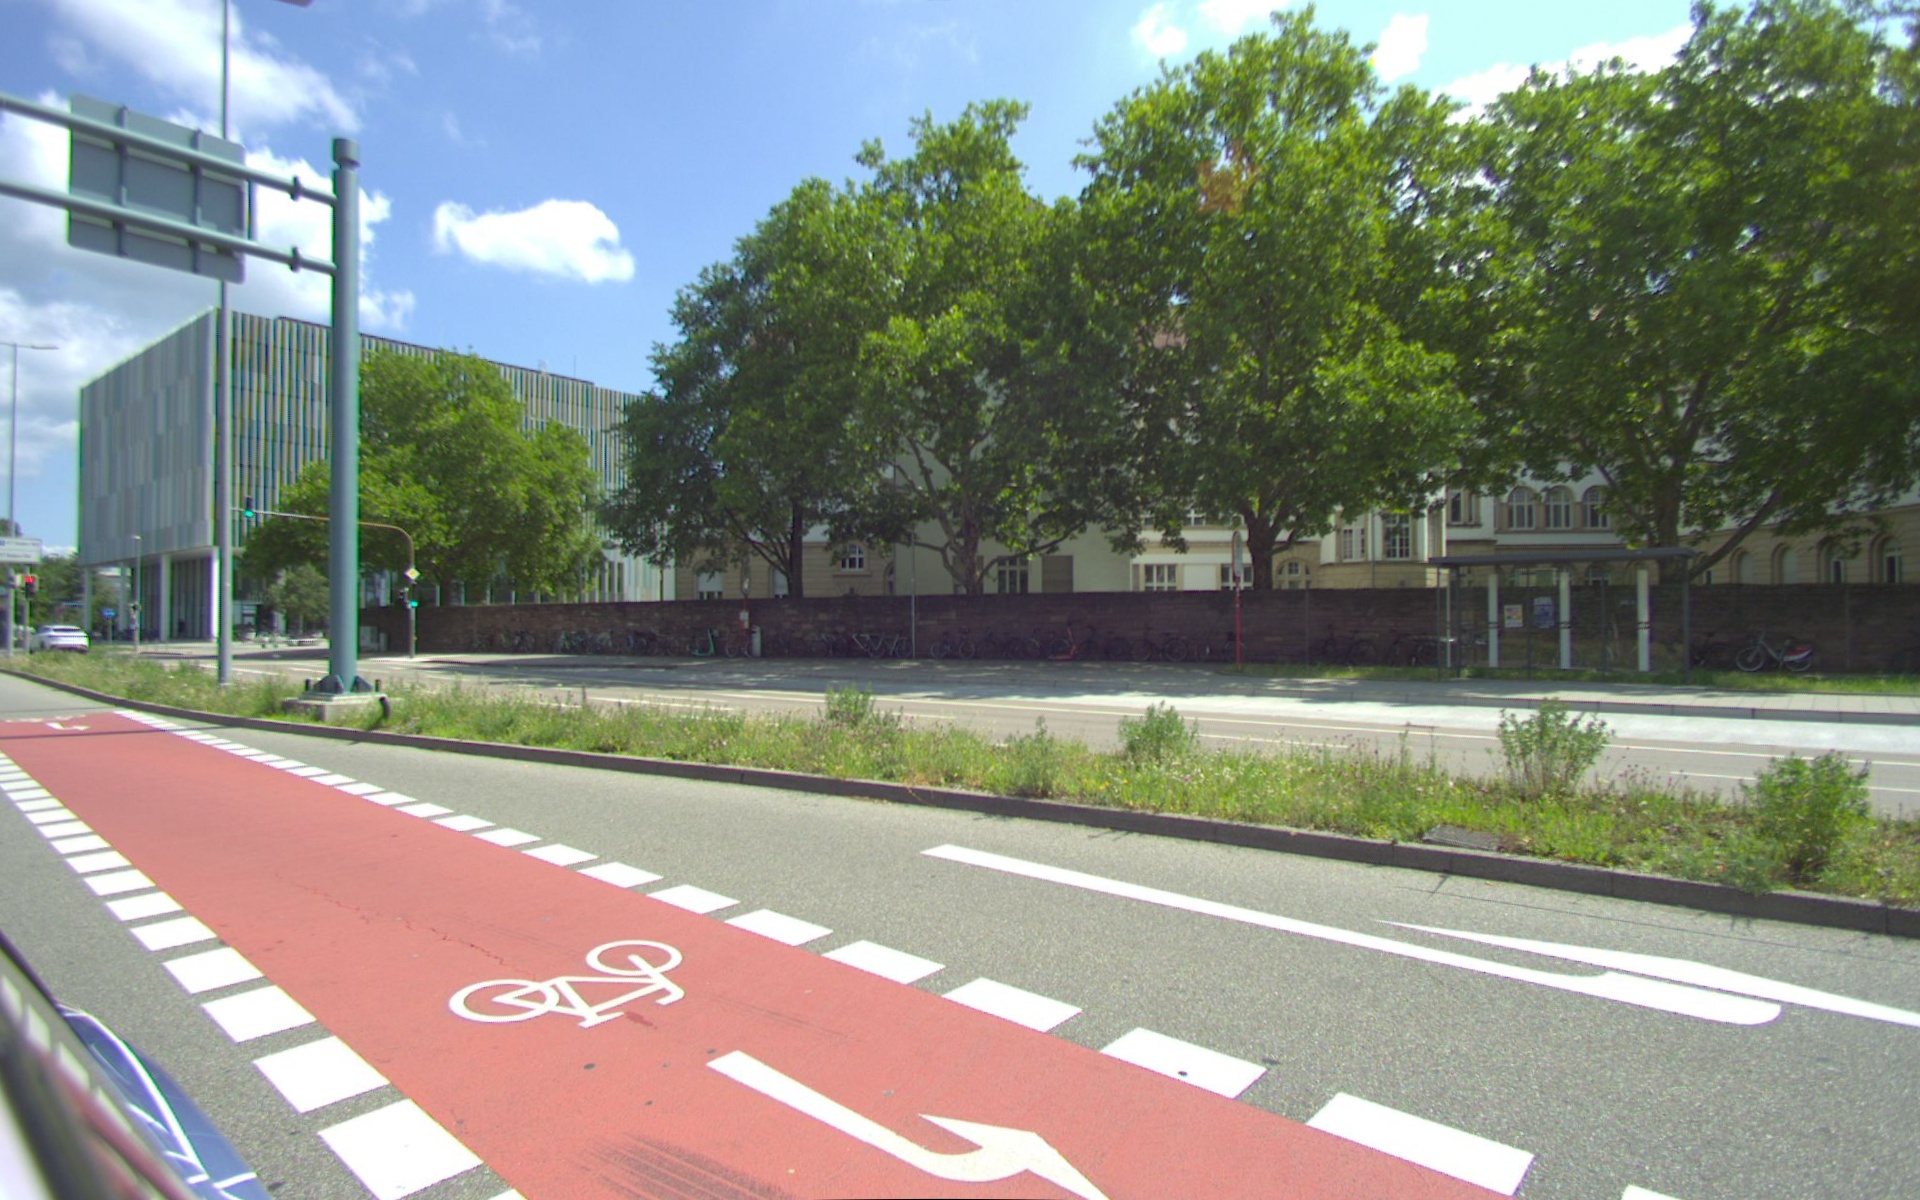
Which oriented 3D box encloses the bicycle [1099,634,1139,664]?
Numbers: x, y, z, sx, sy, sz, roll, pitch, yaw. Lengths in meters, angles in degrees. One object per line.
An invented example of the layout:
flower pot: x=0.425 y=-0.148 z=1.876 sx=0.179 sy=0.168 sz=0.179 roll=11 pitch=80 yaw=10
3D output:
bicycle: x=4.963 y=1.524 z=31.619 sx=1.230 sy=0.915 sz=0.262 roll=-1 pitch=-2 yaw=28

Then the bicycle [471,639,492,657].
bicycle: x=-22.686 y=2.273 z=47.956 sx=1.231 sy=0.837 sz=0.262 roll=-2 pitch=-2 yaw=30

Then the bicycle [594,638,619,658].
bicycle: x=-14.979 y=2.019 z=42.878 sx=1.231 sy=0.837 sz=0.262 roll=-2 pitch=-2 yaw=30

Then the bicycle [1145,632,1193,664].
bicycle: x=6.405 y=1.478 z=31.033 sx=1.385 sy=0.972 sz=0.263 roll=-1 pitch=-2 yaw=20

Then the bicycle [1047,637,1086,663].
bicycle: x=3.413 y=1.595 z=32.454 sx=1.230 sy=0.837 sz=0.262 roll=-1 pitch=-2 yaw=28

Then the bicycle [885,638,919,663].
bicycle: x=-2.010 y=1.752 z=35.114 sx=1.231 sy=0.837 sz=0.262 roll=-1 pitch=-2 yaw=30

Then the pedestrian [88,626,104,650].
pedestrian: x=-73.565 y=3.239 z=86.213 sx=0.994 sy=2.029 sz=0.853 roll=-2 pitch=-2 yaw=39

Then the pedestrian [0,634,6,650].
pedestrian: x=-100.439 y=4.350 z=105.875 sx=0.994 sy=1.669 sz=0.853 roll=-2 pitch=-2 yaw=39

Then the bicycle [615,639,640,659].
bicycle: x=-13.861 y=2.029 z=42.200 sx=1.231 sy=0.837 sz=0.262 roll=-2 pitch=-2 yaw=30

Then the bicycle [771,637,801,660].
bicycle: x=-6.465 y=1.812 z=37.563 sx=1.231 sy=0.837 sz=0.262 roll=-1 pitch=-2 yaw=30

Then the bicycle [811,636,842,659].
bicycle: x=-4.876 y=1.719 z=36.872 sx=1.231 sy=0.837 sz=0.262 roll=-1 pitch=-2 yaw=30

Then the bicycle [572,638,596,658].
bicycle: x=-16.262 y=2.084 z=43.723 sx=1.231 sy=0.837 sz=0.262 roll=-2 pitch=-2 yaw=30

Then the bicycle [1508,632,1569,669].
bicycle: x=15.635 y=1.370 z=27.385 sx=1.384 sy=0.972 sz=0.263 roll=-1 pitch=-2 yaw=18

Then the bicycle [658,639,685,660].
bicycle: x=-11.563 y=1.969 z=40.578 sx=1.231 sy=0.837 sz=0.262 roll=-2 pitch=-2 yaw=30

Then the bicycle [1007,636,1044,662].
bicycle: x=2.137 y=1.612 z=33.066 sx=1.230 sy=0.837 sz=0.262 roll=-1 pitch=-2 yaw=28

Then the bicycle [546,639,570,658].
bicycle: x=-17.476 y=2.109 z=43.963 sx=1.230 sy=0.837 sz=0.262 roll=-1 pitch=-2 yaw=29

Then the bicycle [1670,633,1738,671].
bicycle: x=19.237 y=1.347 z=26.191 sx=1.384 sy=0.972 sz=0.263 roll=-1 pitch=-2 yaw=18

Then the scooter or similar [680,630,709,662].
scooter or similar: x=-10.224 y=1.764 z=38.950 sx=1.230 sy=1.199 sz=0.262 roll=-1 pitch=-2 yaw=29

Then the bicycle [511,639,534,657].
bicycle: x=-19.967 y=2.189 z=46.195 sx=1.230 sy=0.837 sz=0.262 roll=-1 pitch=-2 yaw=29

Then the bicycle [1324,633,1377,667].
bicycle: x=11.183 y=1.428 z=29.029 sx=1.384 sy=0.972 sz=0.263 roll=-1 pitch=-2 yaw=18

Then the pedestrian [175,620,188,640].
pedestrian: x=-78.981 y=3.014 z=102.647 sx=0.994 sy=2.029 sz=0.853 roll=-2 pitch=-2 yaw=40

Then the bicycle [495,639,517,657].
bicycle: x=-21.064 y=2.223 z=46.974 sx=1.231 sy=0.837 sz=0.262 roll=-2 pitch=-2 yaw=30

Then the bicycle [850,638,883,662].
bicycle: x=-3.321 y=1.755 z=35.901 sx=1.231 sy=0.837 sz=0.262 roll=-1 pitch=-2 yaw=30

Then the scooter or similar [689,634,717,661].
scooter or similar: x=-10.139 y=1.880 z=39.916 sx=1.133 sy=1.028 sz=0.264 roll=-1 pitch=-2 yaw=19

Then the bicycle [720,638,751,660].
bicycle: x=-8.641 y=1.888 z=38.947 sx=1.226 sy=0.837 sz=0.263 roll=-1 pitch=-2 yaw=19

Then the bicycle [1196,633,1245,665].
bicycle: x=7.811 y=1.471 z=30.413 sx=1.389 sy=0.972 sz=0.262 roll=-1 pitch=-2 yaw=28

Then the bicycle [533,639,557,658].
bicycle: x=-18.590 y=2.165 z=45.307 sx=1.230 sy=0.837 sz=0.262 roll=-1 pitch=-2 yaw=29

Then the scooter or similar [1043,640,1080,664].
scooter or similar: x=3.183 y=1.630 z=31.805 sx=1.133 sy=0.734 sz=0.264 roll=-1 pitch=-2 yaw=18

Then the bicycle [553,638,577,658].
bicycle: x=-17.401 y=2.113 z=44.557 sx=1.230 sy=0.837 sz=0.262 roll=-1 pitch=-2 yaw=29

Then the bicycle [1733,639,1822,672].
bicycle: x=20.749 y=1.406 z=25.718 sx=1.734 sy=0.823 sz=0.327 roll=-1 pitch=-2 yaw=18

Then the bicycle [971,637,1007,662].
bicycle: x=0.965 y=1.647 z=33.716 sx=1.230 sy=0.837 sz=0.262 roll=-1 pitch=-2 yaw=28

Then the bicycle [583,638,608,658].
bicycle: x=-15.326 y=2.006 z=42.553 sx=1.230 sy=0.837 sz=0.262 roll=-1 pitch=-2 yaw=29

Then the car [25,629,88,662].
car: x=-50.338 y=2.522 z=56.345 sx=4.508 sy=1.724 sz=1.973 roll=-2 pitch=-2 yaw=40

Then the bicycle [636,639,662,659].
bicycle: x=-12.765 y=2.010 z=41.487 sx=1.231 sy=0.837 sz=0.262 roll=-2 pitch=-2 yaw=30

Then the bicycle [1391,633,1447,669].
bicycle: x=12.869 y=1.432 z=28.415 sx=1.384 sy=0.972 sz=0.263 roll=-1 pitch=-2 yaw=18

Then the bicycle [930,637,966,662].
bicycle: x=-0.407 y=1.673 z=34.242 sx=1.230 sy=0.837 sz=0.262 roll=-1 pitch=-2 yaw=28
